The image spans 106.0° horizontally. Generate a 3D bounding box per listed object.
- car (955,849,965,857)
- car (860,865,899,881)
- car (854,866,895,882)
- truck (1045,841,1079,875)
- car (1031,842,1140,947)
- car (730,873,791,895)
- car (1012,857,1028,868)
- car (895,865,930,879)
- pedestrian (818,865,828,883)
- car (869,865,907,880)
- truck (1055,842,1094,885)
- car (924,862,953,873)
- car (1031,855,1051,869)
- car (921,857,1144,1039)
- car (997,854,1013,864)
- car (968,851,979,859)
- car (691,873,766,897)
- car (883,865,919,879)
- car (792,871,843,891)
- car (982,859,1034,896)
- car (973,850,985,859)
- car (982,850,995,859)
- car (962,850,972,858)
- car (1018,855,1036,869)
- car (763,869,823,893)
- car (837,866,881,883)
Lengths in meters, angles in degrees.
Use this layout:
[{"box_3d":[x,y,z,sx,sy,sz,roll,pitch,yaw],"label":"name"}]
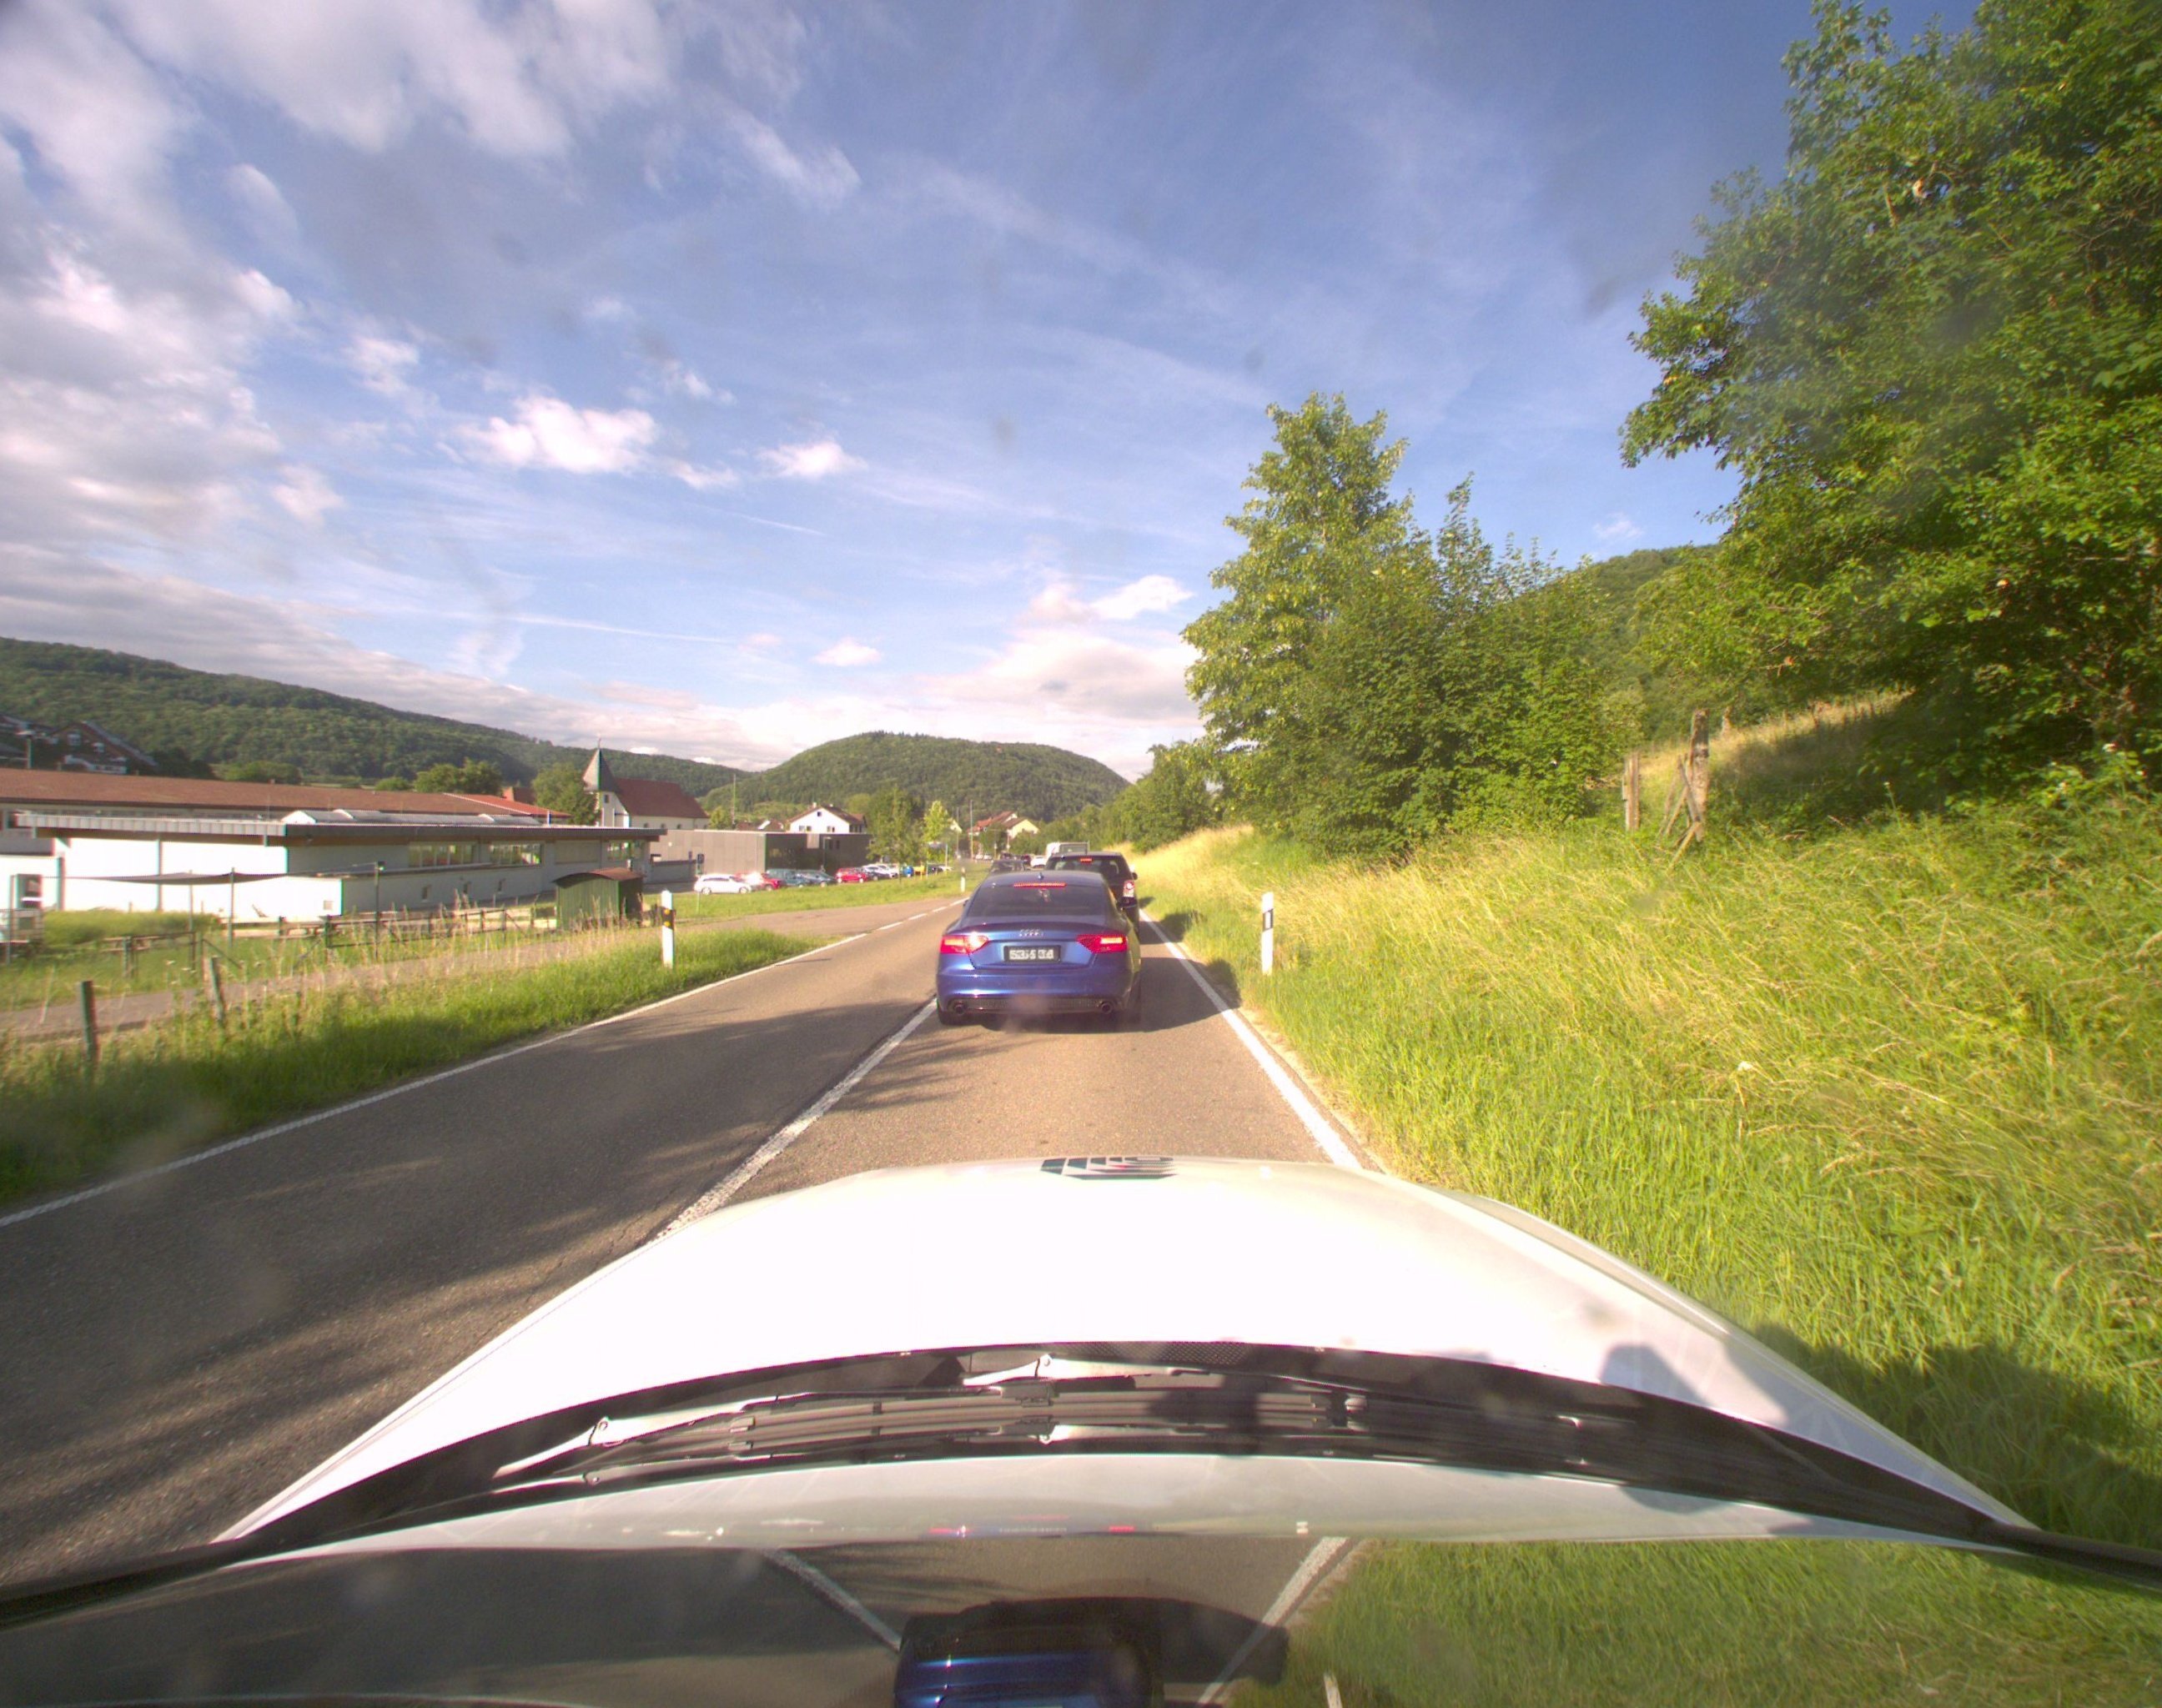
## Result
[{"box_3d":[-29.295,-0.239,197.025,1.849,1.712,3.978,0,-1,-16],"label":"car"},{"box_3d":[-23.010,2.182,92.979,3.975,1.711,1.999,0,-1,-1],"label":"car"},{"box_3d":[-22.651,2.145,89.312,3.975,1.711,1.999,0,-1,-1],"label":"car"},{"box_3d":[-1.589,0.322,64.930,2.227,2.570,6.693,0,-1,-6],"label":"truck"},{"box_3d":[0.162,0.667,15.086,1.747,1.681,3.849,0,-1,3],"label":"car"},{"box_3d":[-25.206,2.348,64.195,3.975,1.711,1.999,0,-1,-1],"label":"car"},{"box_3d":[-9.260,1.297,123.280,1.846,1.712,3.985,0,-1,-11],"label":"car"},{"box_3d":[-21.644,2.281,104.700,3.975,1.711,1.999,0,-1,-1],"label":"car"},{"box_3d":[-28.980,2.272,91.445,0.822,2.014,0.973,0,-1,1],"label":"pedestrian"},{"box_3d":[-22.803,2.211,96.261,3.975,1.711,1.999,0,-1,-1],"label":"car"},{"box_3d":[-0.353,0.586,51.378,2.221,2.570,6.105,0,-1,2],"label":"truck"},{"box_3d":[-20.814,1.967,119.258,3.975,1.579,1.752,0,-1,-1],"label":"car"},{"box_3d":[-4.651,0.903,93.489,1.845,1.482,3.987,0,-1,-9],"label":"car"},{"box_3d":[-0.292,0.762,8.343,1.747,1.430,3.849,0,-1,3],"label":"car"},{"box_3d":[-12.754,0.869,136.283,1.849,1.712,3.978,0,-1,-16],"label":"car"},{"box_3d":[-23.277,0.259,176.532,1.849,1.712,3.978,0,-1,-16],"label":"car"},{"box_3d":[-26.429,2.329,61.214,4.717,1.711,1.999,0,-1,-1],"label":"car"},{"box_3d":[-22.559,2.263,102.046,3.975,1.711,1.999,0,-1,-1],"label":"car"},{"box_3d":[-24.091,2.435,74.489,3.975,1.711,1.999,0,-1,-1],"label":"car"},{"box_3d":[-2.974,0.933,34.022,1.698,1.430,4.052,0,-1,2],"label":"car"},{"box_3d":[-20.911,0.135,166.805,1.851,1.712,3.975,0,-1,-18],"label":"car"},{"box_3d":[-17.968,0.085,157.657,1.849,1.712,3.978,0,-1,-16],"label":"car"},{"box_3d":[-26.341,0.048,187.829,1.849,1.712,3.978,0,-1,-16],"label":"car"},{"box_3d":[-7.012,1.039,106.098,1.847,1.712,3.984,0,-1,-11],"label":"car"},{"box_3d":[-24.706,2.330,69.998,4.393,2.008,1.999,0,-1,-1],"label":"car"},{"box_3d":[-23.095,2.106,84.771,3.975,1.711,1.999,0,-1,-1],"label":"car"}]
